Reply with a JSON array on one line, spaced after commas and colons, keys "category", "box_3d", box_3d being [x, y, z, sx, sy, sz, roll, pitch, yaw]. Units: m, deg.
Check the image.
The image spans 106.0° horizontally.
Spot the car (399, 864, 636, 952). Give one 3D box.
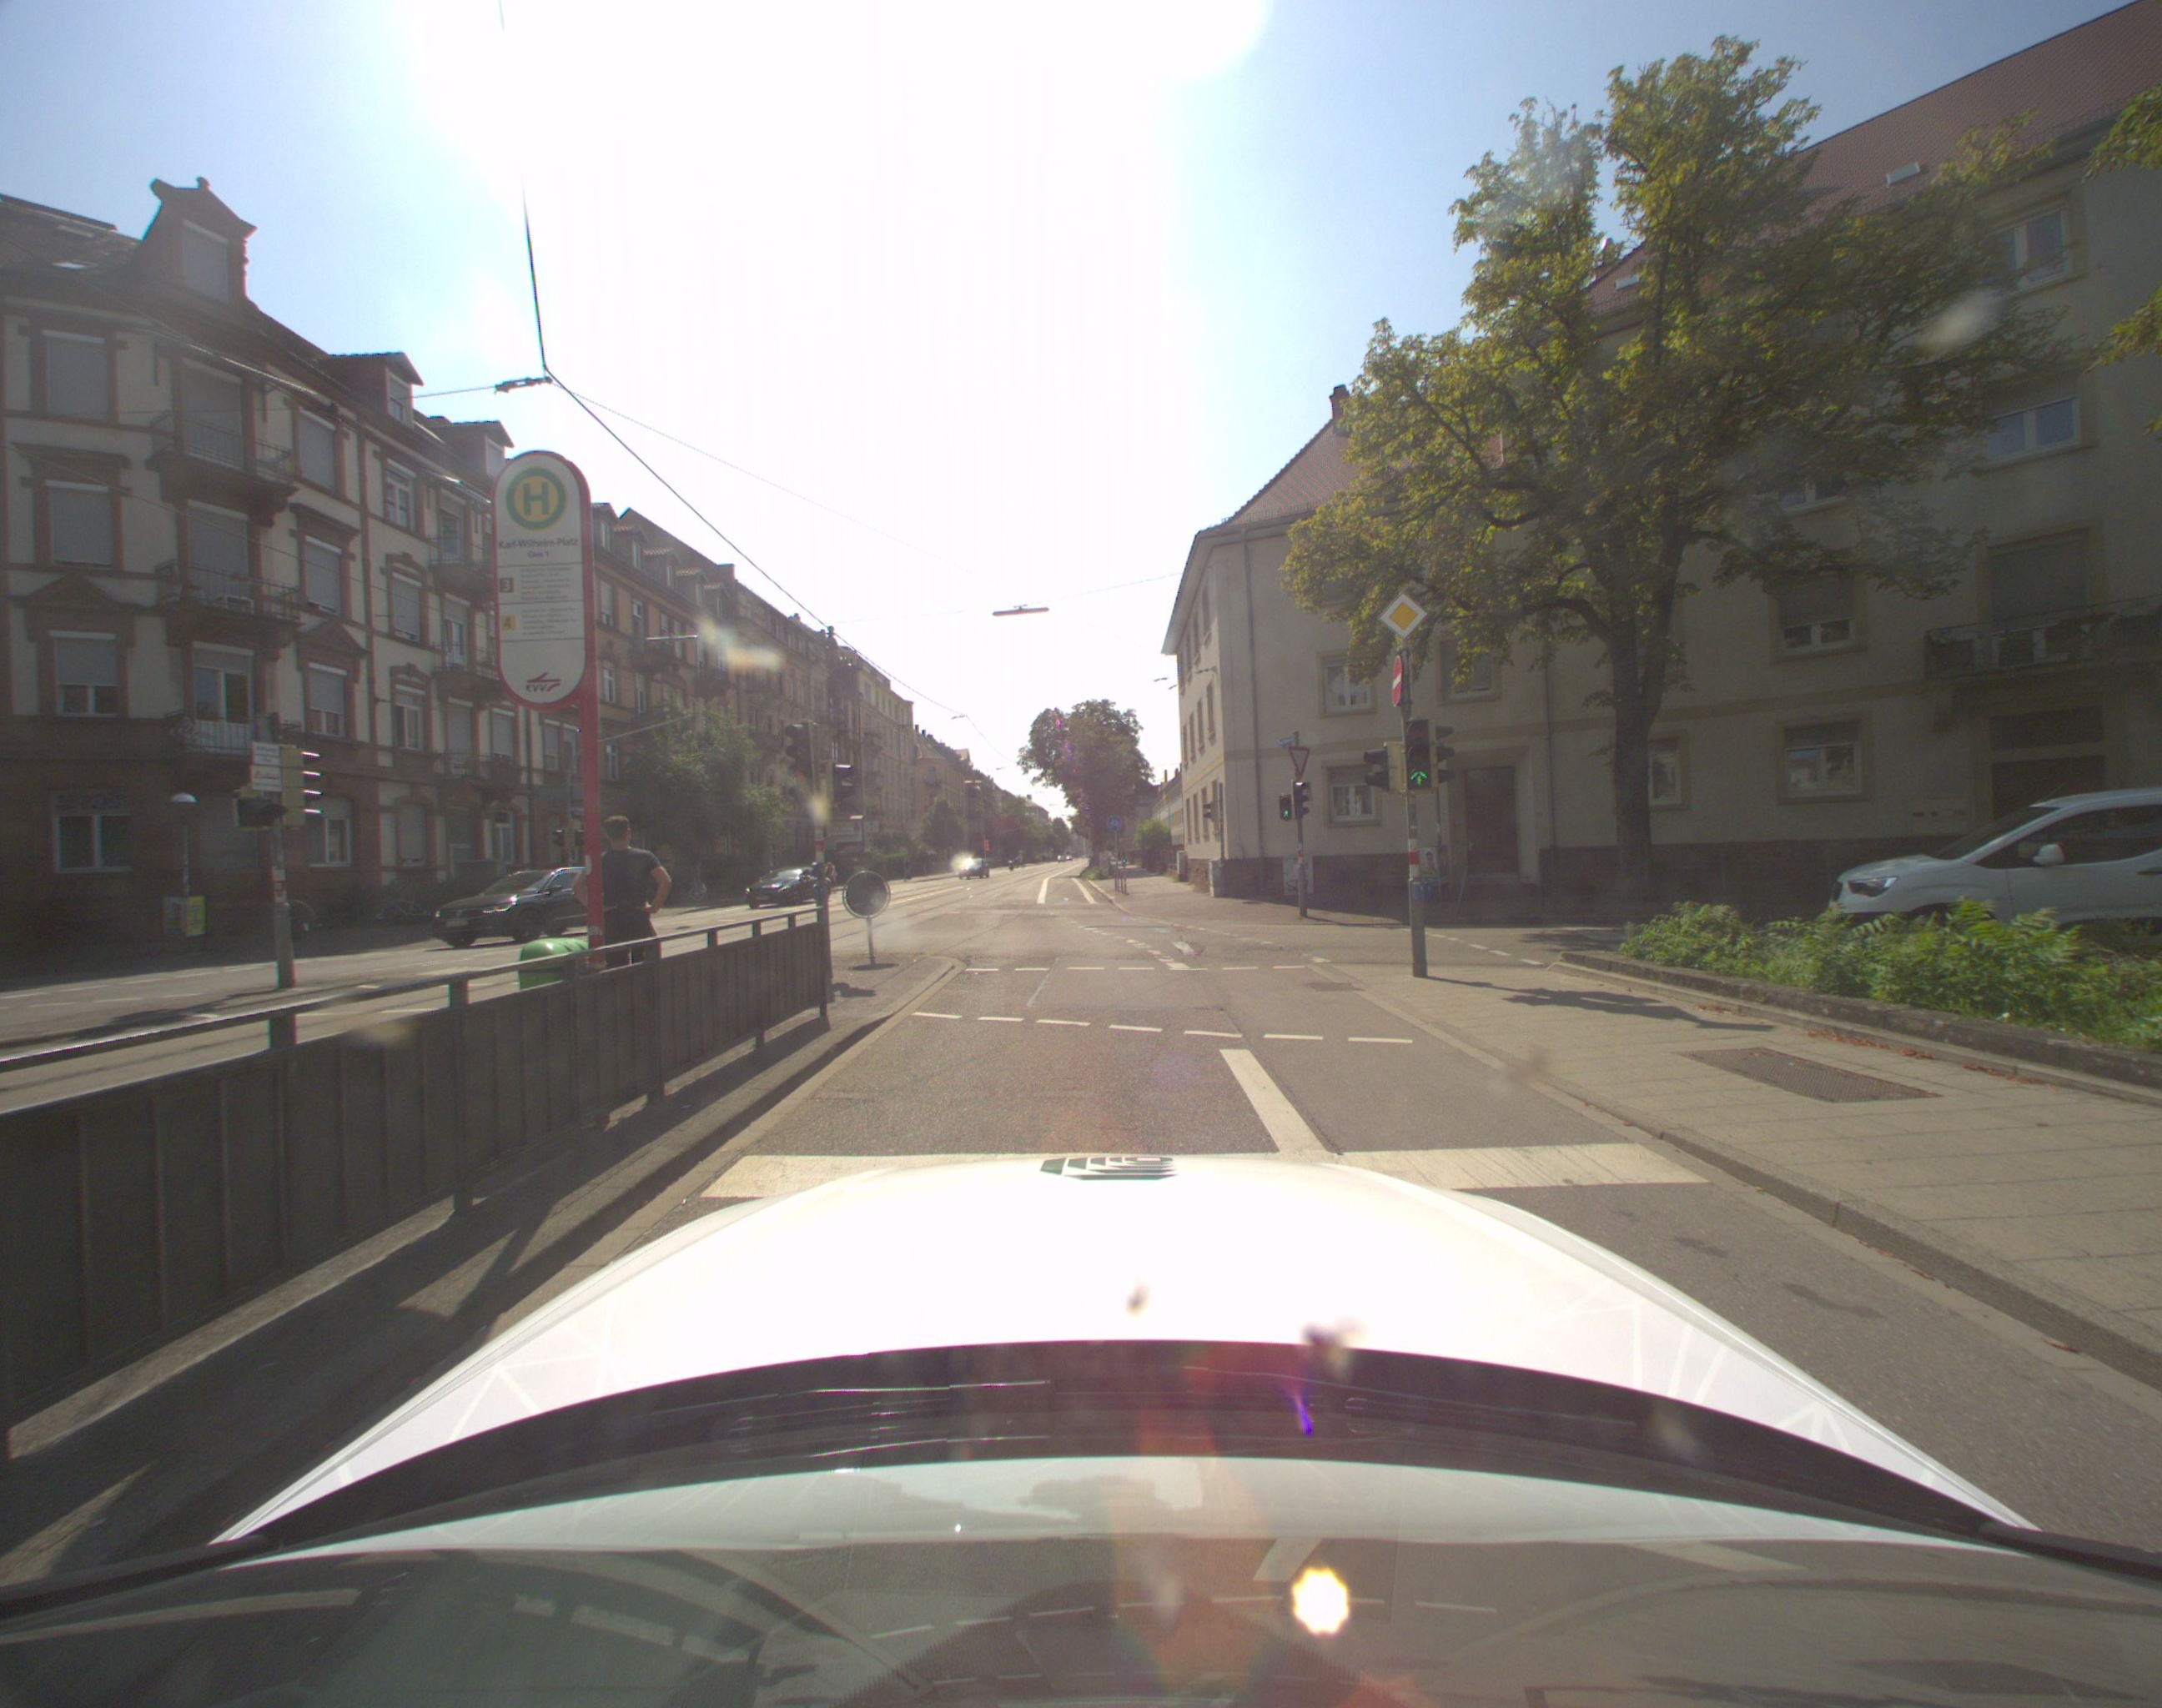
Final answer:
[{"category": "car", "box_3d": [-12.853, 1.140, 19.060, 1.984, 1.648, 4.637, -3, 0, 5]}]

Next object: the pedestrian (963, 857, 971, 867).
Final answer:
[{"category": "pedestrian", "box_3d": [-17.161, 1.160, 122.412, 0.889, 1.511, 0.862, -2, -1, -30]}]

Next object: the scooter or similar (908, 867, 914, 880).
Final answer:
[{"category": "scooter or similar", "box_3d": [-13.182, 1.521, 63.237, 0.399, 0.982, 0.583, -1, -1, -7]}]

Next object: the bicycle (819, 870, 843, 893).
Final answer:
[{"category": "bicycle", "box_3d": [-12.687, 1.381, 41.316, 0.578, 1.066, 1.844, -2, 0, 1]}]

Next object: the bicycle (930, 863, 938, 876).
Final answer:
[{"category": "bicycle", "box_3d": [-13.903, 1.477, 76.881, 0.388, 1.147, 1.583, -2, 0, 2]}]

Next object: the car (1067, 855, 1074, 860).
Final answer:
[{"category": "car", "box_3d": [-2.973, 1.011, 226.914, 1.726, 1.490, 4.001, -3, 0, 1]}]

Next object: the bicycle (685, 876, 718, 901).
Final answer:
[{"category": "bicycle", "box_3d": [-16.354, 1.483, 35.105, 0.485, 0.986, 1.659, -2, 0, 5]}]

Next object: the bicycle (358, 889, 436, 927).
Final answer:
[{"category": "bicycle", "box_3d": [-20.019, 1.571, 23.862, 0.389, 0.997, 1.690, -2, 0, 39]}]

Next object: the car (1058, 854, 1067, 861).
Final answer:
[{"category": "car", "box_3d": [-4.435, 0.902, 194.630, 1.821, 1.540, 4.001, -3, 0, 1]}]

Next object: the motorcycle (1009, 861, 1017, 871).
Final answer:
[{"category": "motorcycle", "box_3d": [-7.670, 1.351, 91.965, 0.688, 1.031, 2.159, -2, 0, 3]}]

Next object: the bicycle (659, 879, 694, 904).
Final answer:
[{"category": "bicycle", "box_3d": [-16.563, 1.534, 33.390, 0.485, 0.941, 1.659, -2, 0, 5]}]

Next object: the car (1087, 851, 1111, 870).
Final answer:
[{"category": "car", "box_3d": [1.570, 0.575, 71.404, 1.608, 1.530, 3.507, -3, -1, 8]}]

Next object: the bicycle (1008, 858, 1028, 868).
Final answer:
[{"category": "bicycle", "box_3d": [-8.749, 1.303, 112.489, 2.702, 1.269, 1.148, -2, -1, -9]}]

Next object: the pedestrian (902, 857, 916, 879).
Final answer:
[{"category": "pedestrian", "box_3d": [-13.485, 1.094, 63.858, 0.880, 1.756, 0.870, -2, -1, 1]}]

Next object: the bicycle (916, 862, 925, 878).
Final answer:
[{"category": "bicycle", "box_3d": [-14.243, 1.418, 72.417, 0.388, 1.406, 1.583, -2, 0, 2]}]

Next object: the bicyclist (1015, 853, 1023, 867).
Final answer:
[{"category": "bicyclist", "box_3d": [-8.607, 0.813, 112.533, 0.952, 1.837, 1.126, -2, -1, -8]}]

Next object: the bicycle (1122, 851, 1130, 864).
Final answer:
[{"category": "bicycle", "box_3d": [3.718, 0.309, 67.441, 0.439, 1.047, 1.827, -2, 0, -2]}]

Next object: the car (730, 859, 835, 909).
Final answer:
[{"category": "car", "box_3d": [-11.201, 1.064, 30.964, 1.985, 1.648, 4.635, -3, 0, 3]}]

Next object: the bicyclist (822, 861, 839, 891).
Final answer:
[{"category": "bicyclist", "box_3d": [-12.702, 1.087, 41.273, 0.578, 1.470, 0.776, -2, 0, 1]}]

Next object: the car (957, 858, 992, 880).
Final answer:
[{"category": "car", "box_3d": [-8.014, 1.104, 61.760, 1.719, 1.433, 4.183, 2, 1, 5]}]

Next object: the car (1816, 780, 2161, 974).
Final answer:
[{"category": "car", "box_3d": [10.570, 0.198, 8.376, 4.359, 1.812, 1.816, -2, 0, 41]}]

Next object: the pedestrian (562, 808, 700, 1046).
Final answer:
[{"category": "pedestrian", "box_3d": [-3.866, 0.572, 7.000, 0.927, 1.885, 0.668, -2, 0, -35]}]

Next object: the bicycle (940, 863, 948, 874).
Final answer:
[{"category": "bicycle", "box_3d": [-13.868, 1.435, 82.396, 0.388, 1.038, 1.834, -2, 0, 2]}]

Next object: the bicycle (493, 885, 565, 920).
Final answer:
[{"category": "bicycle", "box_3d": [-17.906, 1.564, 26.452, 0.482, 0.997, 1.841, -2, 0, 39]}]

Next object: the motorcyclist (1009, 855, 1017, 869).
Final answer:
[{"category": "motorcyclist", "box_3d": [-7.685, 0.895, 92.026, 0.686, 1.511, 0.773, -2, -1, 2]}]
